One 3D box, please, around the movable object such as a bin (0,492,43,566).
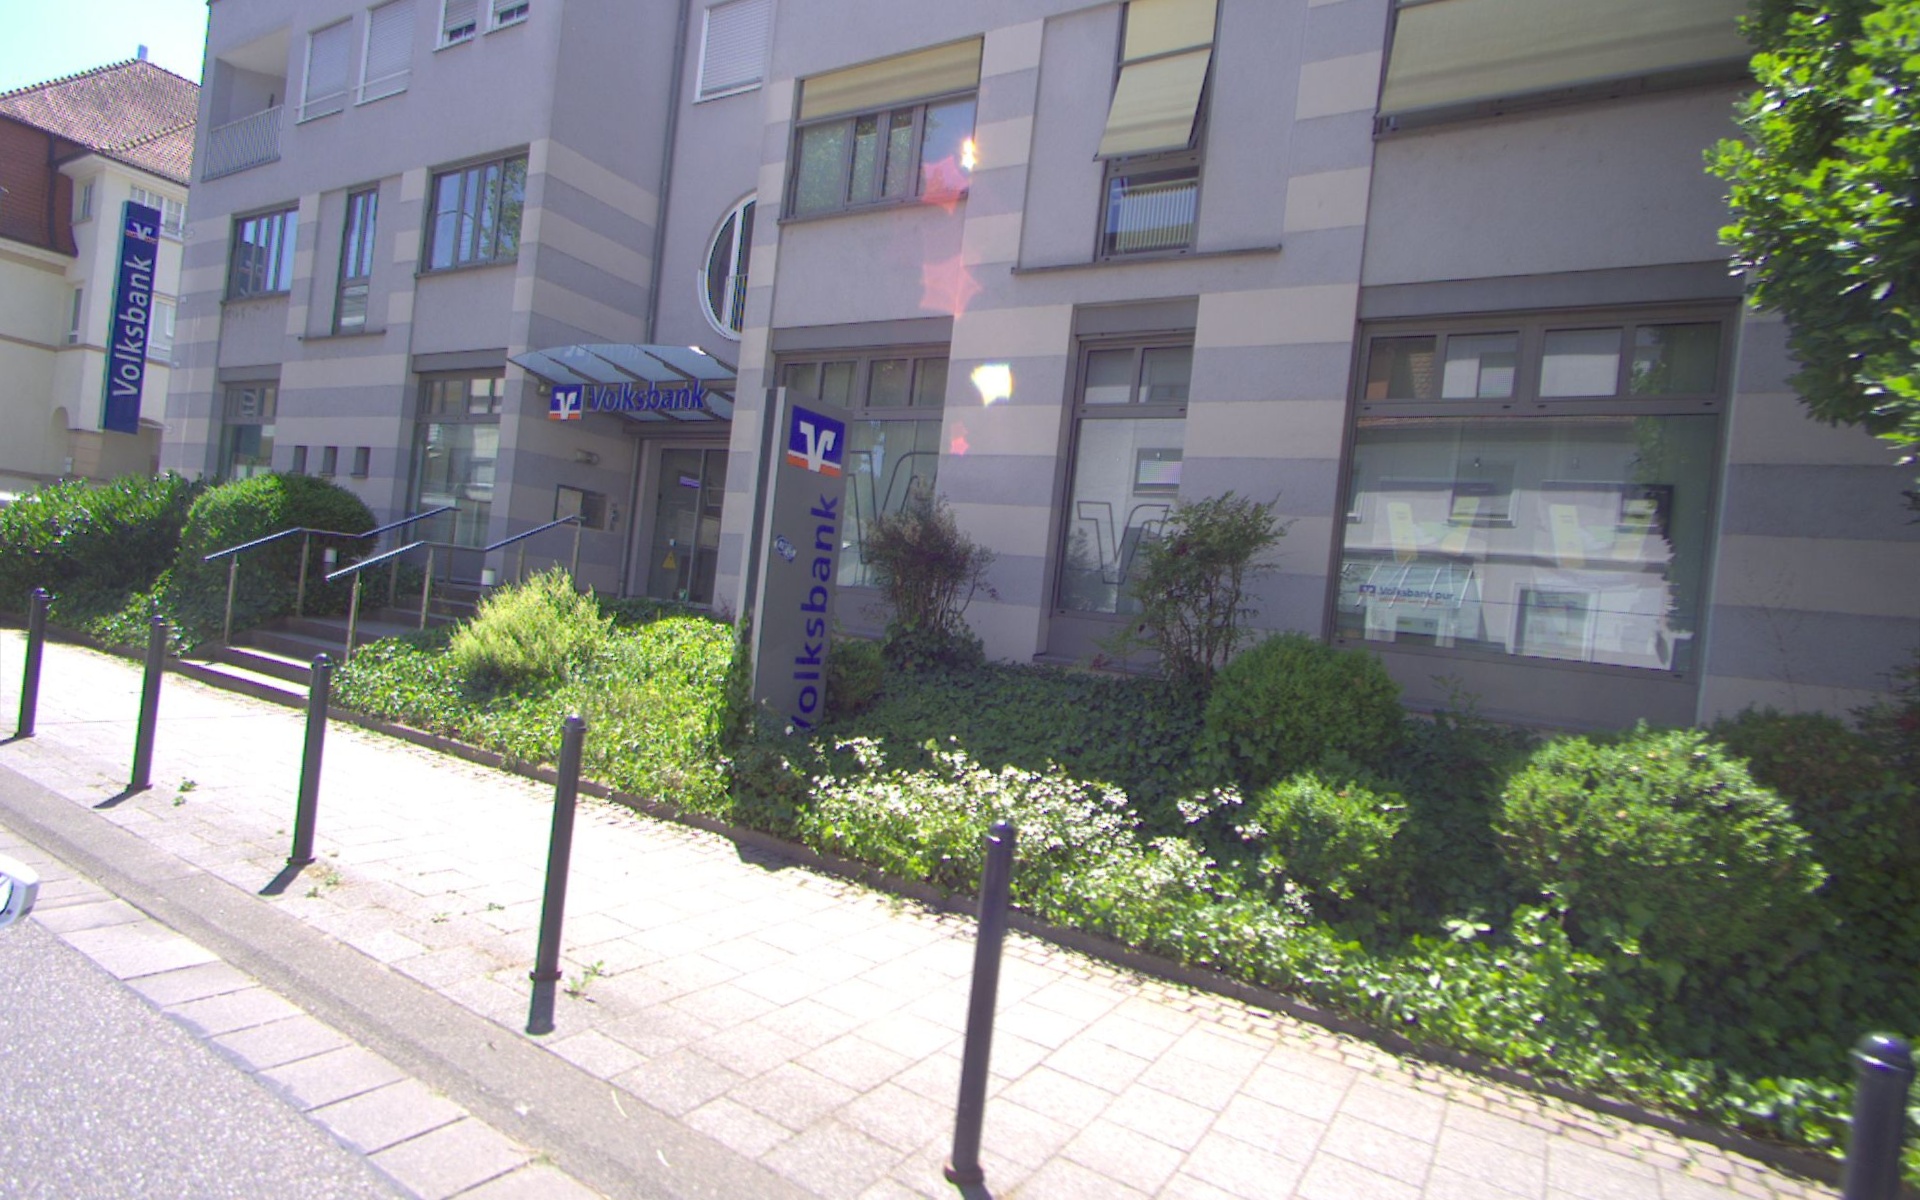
[{"bbox_3d":[-20.121,-1.517,20.824,1.358,1.478,1.367,6,2,33],"label":"movable object such as a bin"}]
